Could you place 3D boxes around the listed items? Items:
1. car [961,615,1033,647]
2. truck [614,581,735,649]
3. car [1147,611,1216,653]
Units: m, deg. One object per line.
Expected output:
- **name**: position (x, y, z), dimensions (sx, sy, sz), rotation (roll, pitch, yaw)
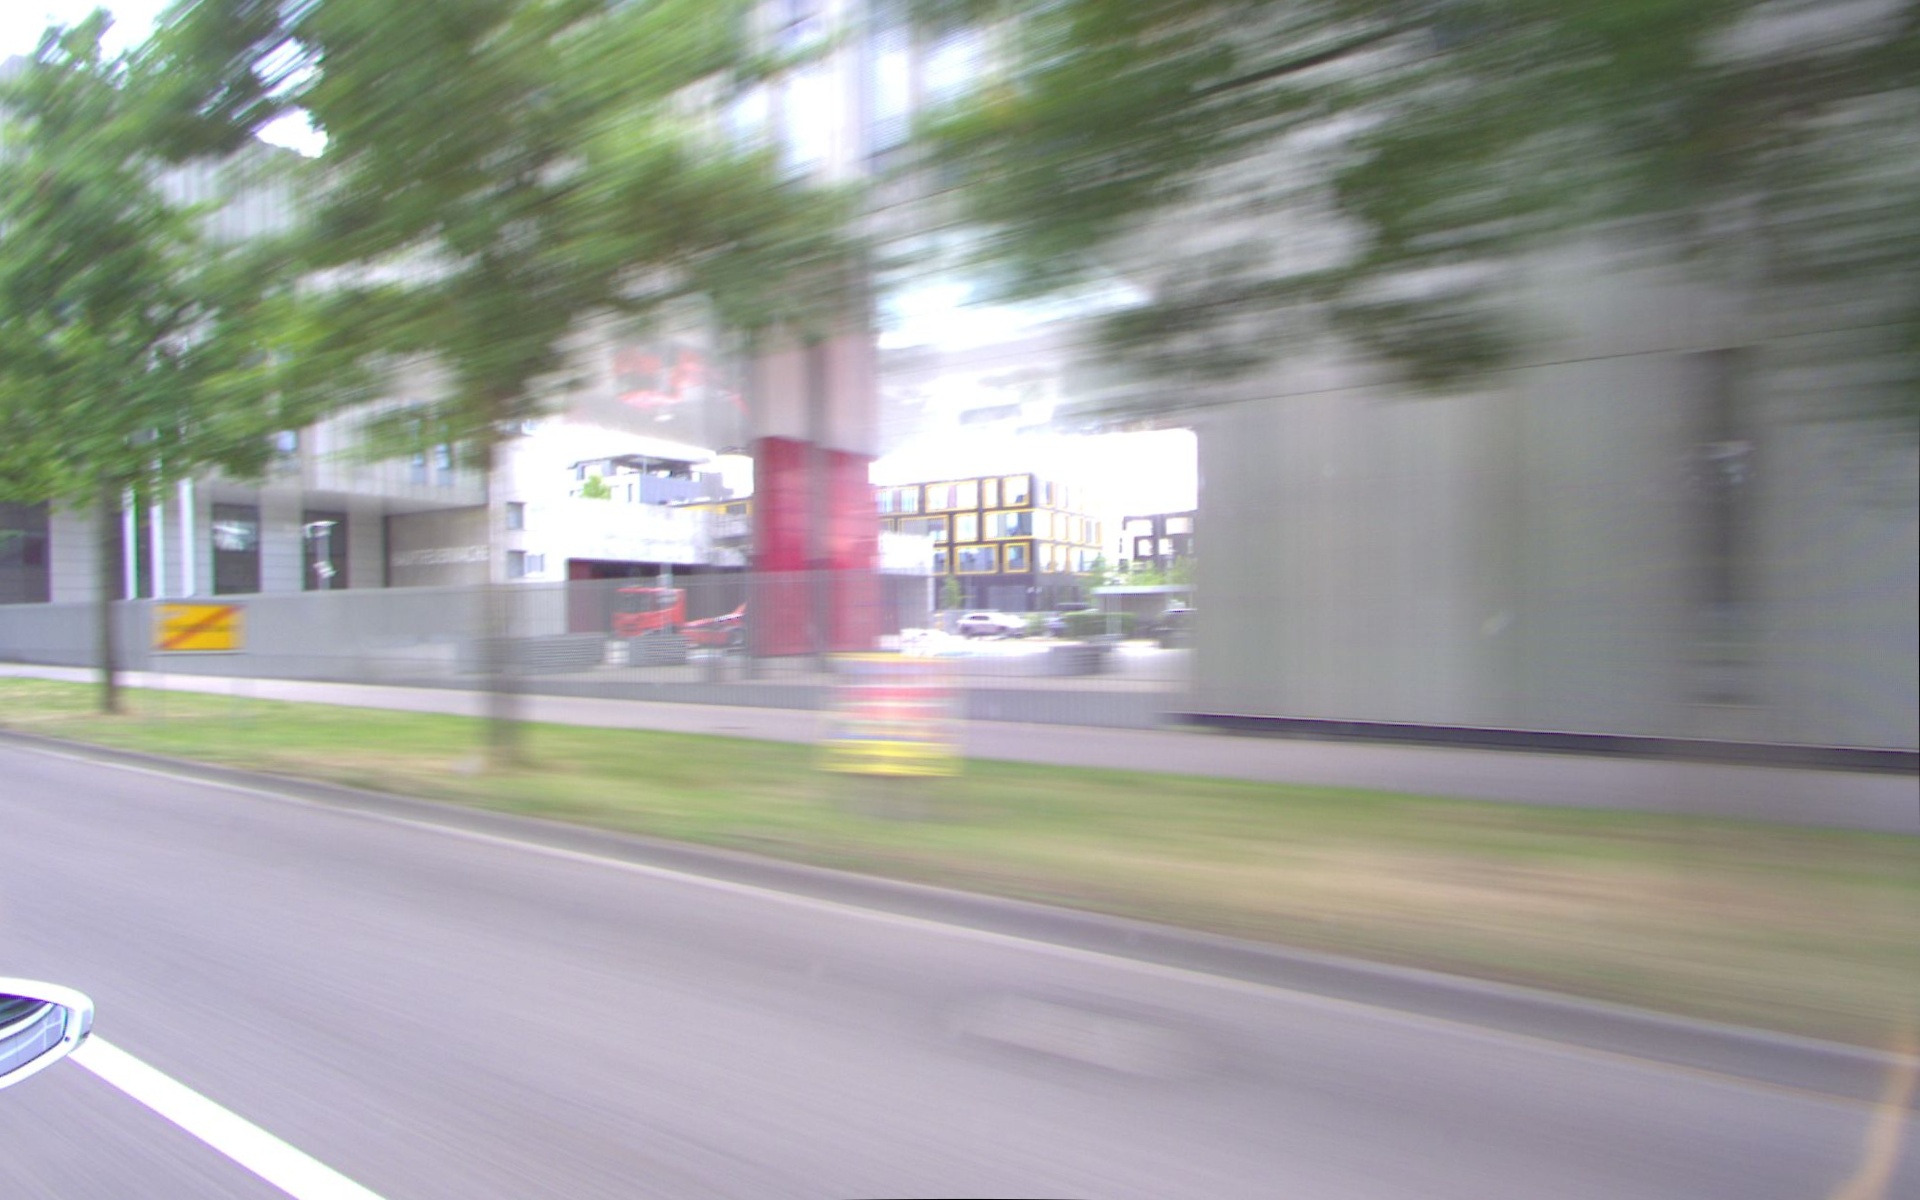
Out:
- **car**: position (2.361, 2.007, 64.060), dimensions (4.255, 1.896, 1.990), rotation (-2, -3, 33)
- **truck**: position (-13.705, 0.828, 48.514), dimensions (2.285, 3.107, 5.687), rotation (-2, -3, 30)
- **car**: position (8.809, 1.298, 39.670), dimensions (1.646, 1.572, 3.300), rotation (-2, -3, 32)
